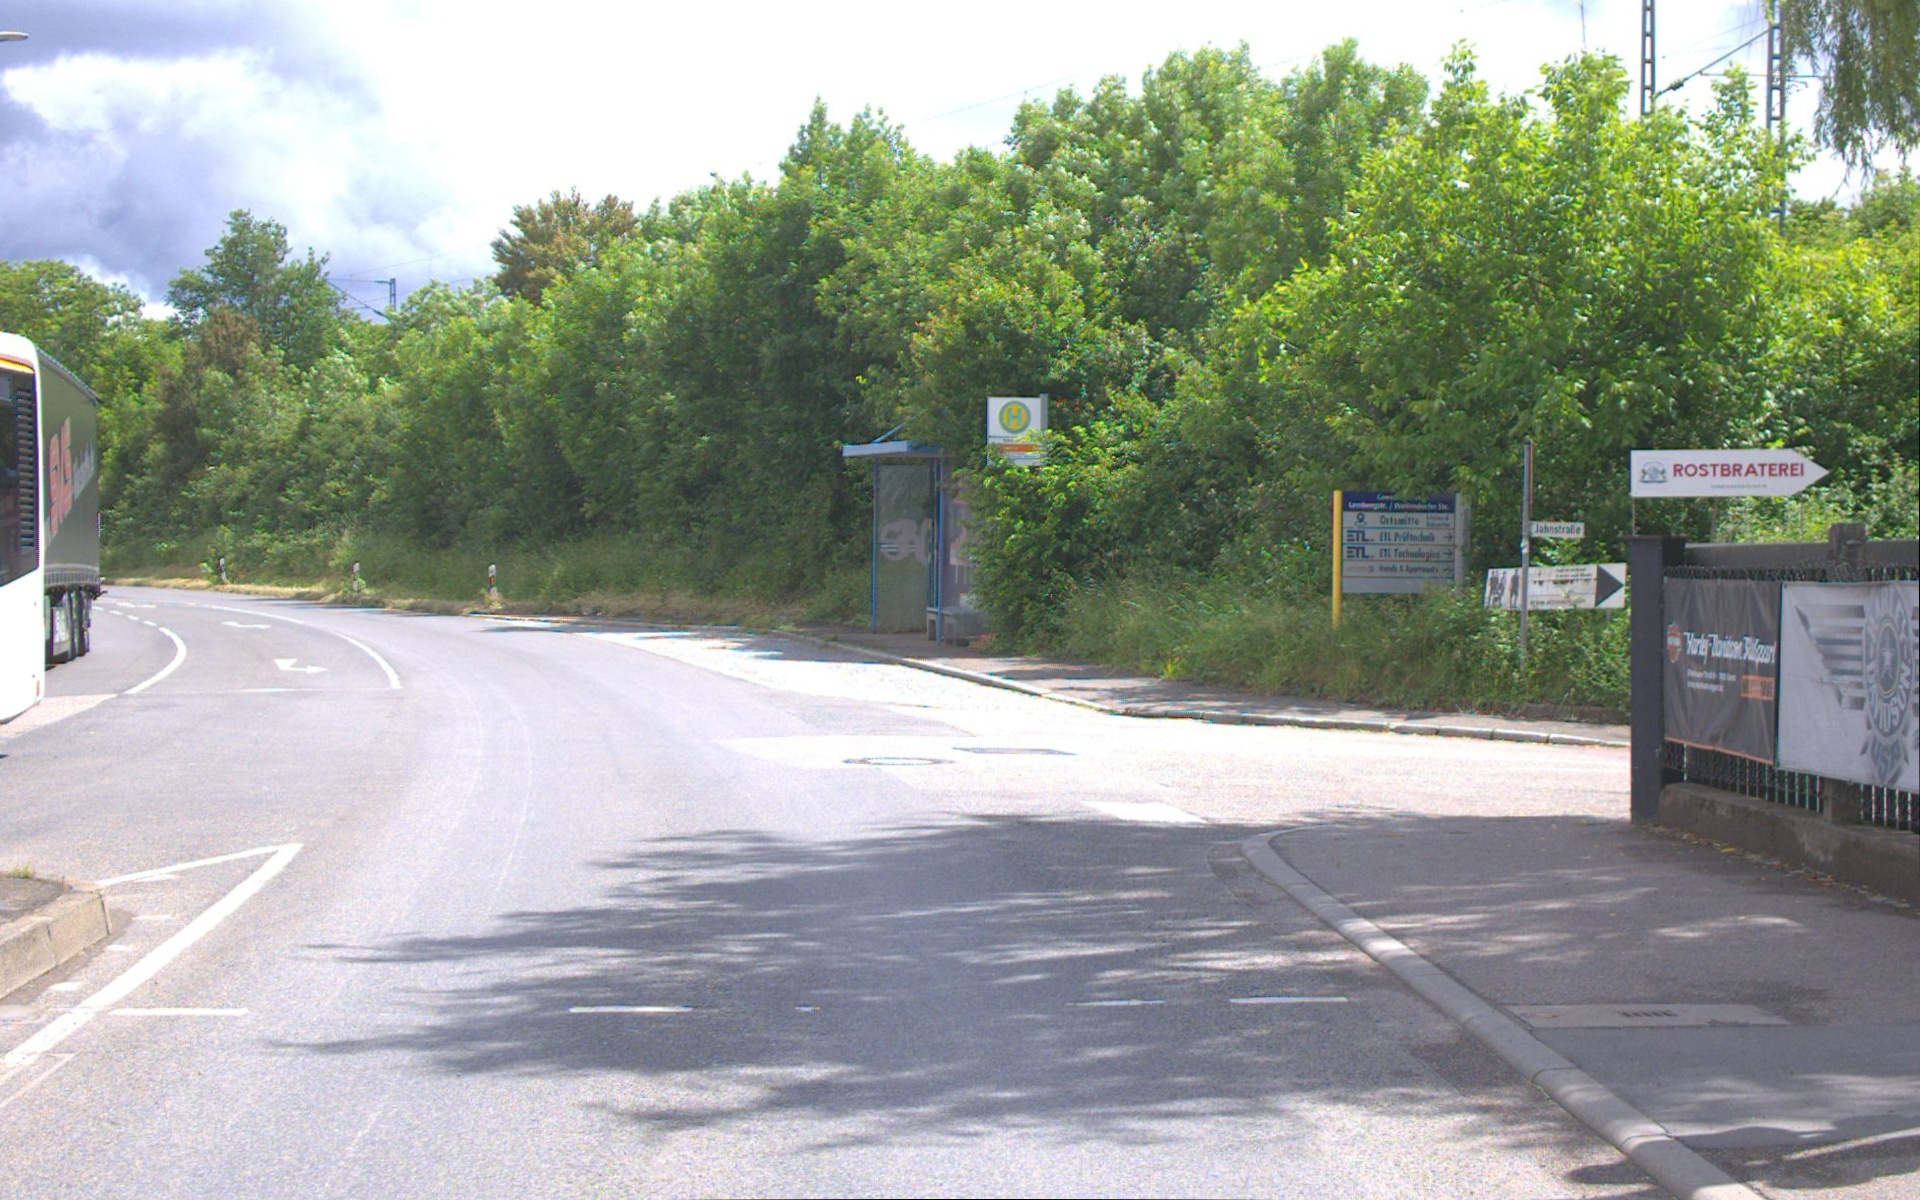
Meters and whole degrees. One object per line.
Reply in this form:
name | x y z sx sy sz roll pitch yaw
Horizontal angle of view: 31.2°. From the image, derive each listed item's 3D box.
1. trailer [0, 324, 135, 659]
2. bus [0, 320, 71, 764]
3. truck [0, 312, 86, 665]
trailer | -13.666 -1.414 49.000 2.798 4.039 15.560 1 1 -10
bus | -7.843 -0.348 19.164 2.718 3.020 12.266 0 1 -1
truck | -12.507 -1.333 42.510 2.798 4.039 6.503 1 1 -10
